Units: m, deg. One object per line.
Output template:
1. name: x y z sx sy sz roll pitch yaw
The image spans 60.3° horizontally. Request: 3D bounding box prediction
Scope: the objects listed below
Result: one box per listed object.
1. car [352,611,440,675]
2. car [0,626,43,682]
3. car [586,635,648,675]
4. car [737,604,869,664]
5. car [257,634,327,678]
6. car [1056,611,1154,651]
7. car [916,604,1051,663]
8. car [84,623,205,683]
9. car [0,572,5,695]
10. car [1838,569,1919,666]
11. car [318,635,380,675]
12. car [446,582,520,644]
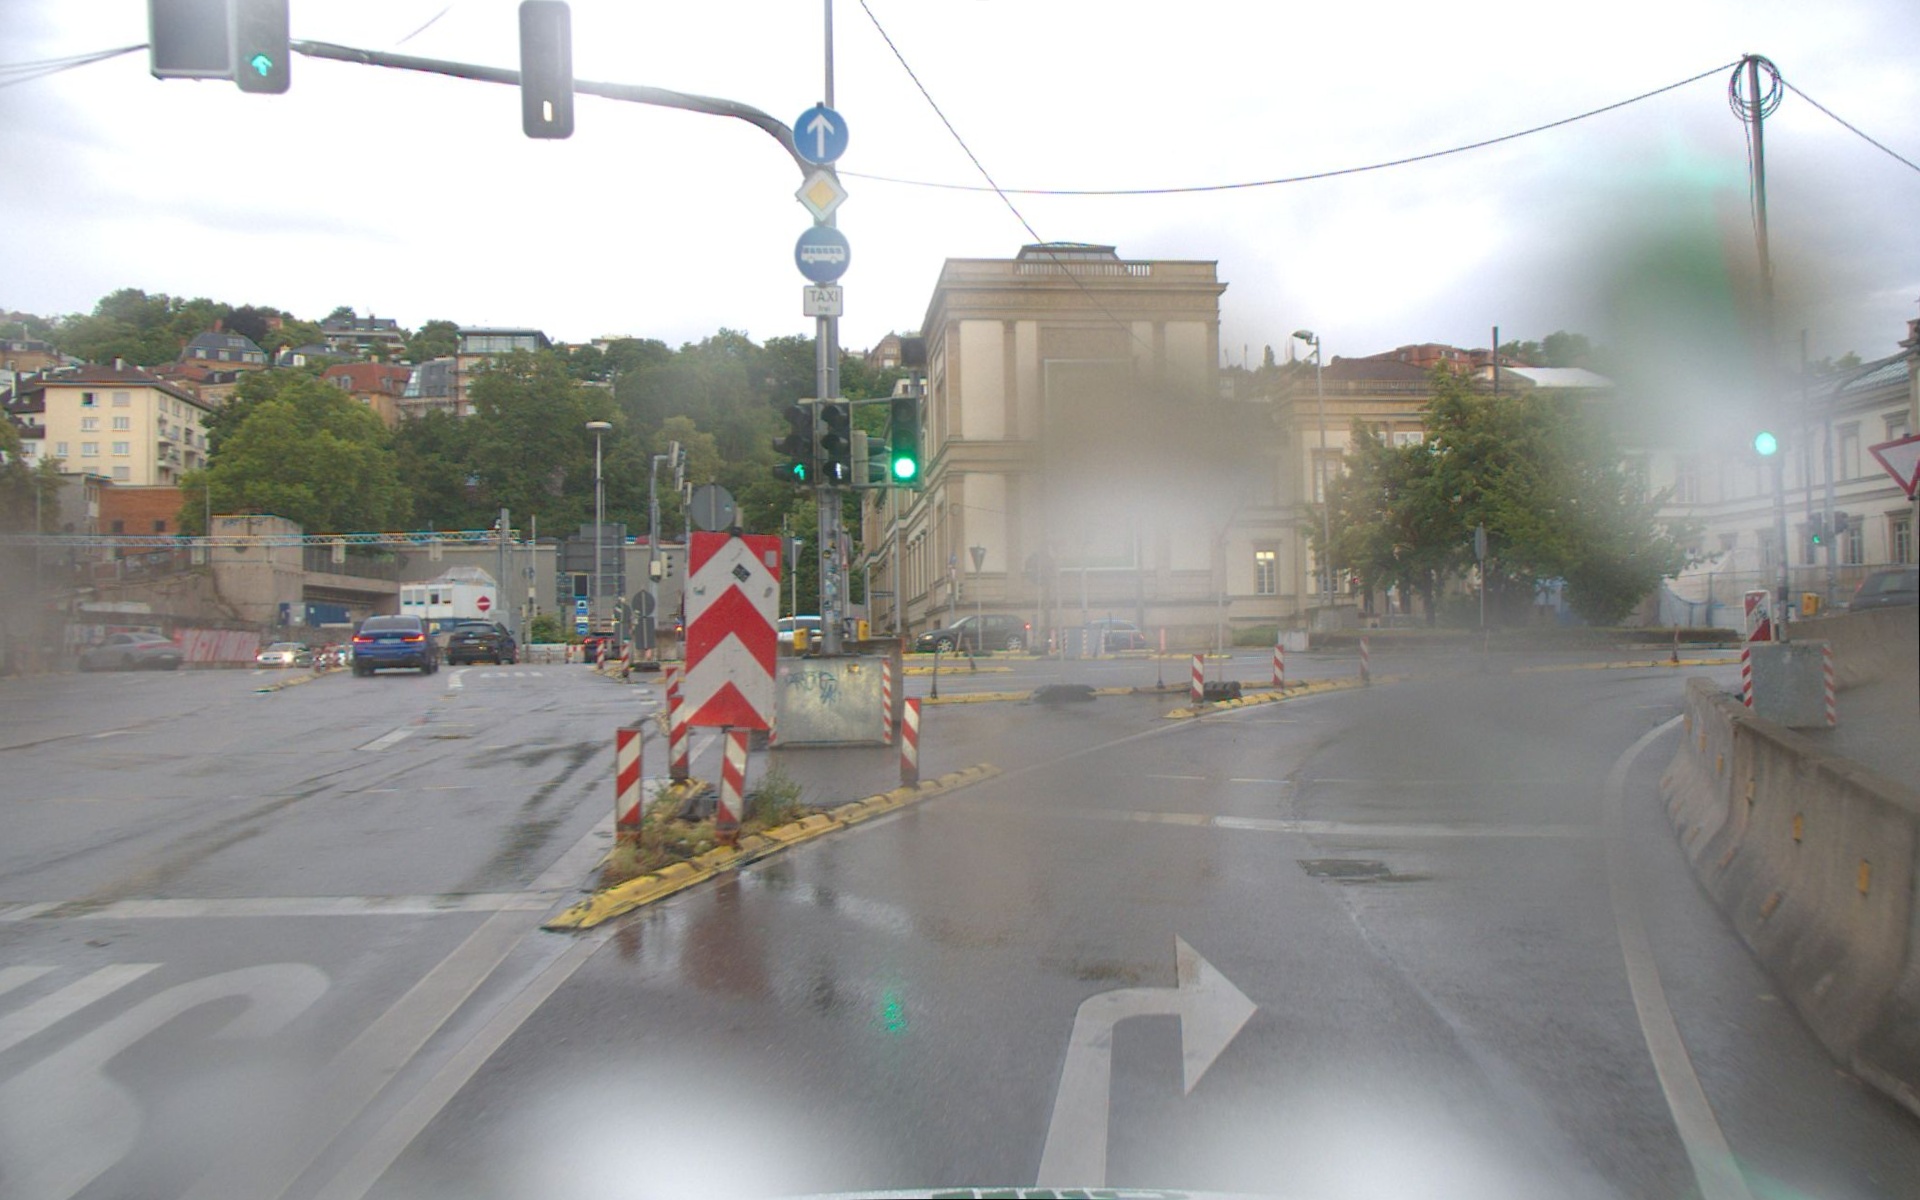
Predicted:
1. car: -13.871 1.023 40.729 1.963 1.464 3.978 0 -1 -19
2. car: -32.941 1.793 56.140 3.922 1.780 1.774 0 0 37
3. car: -15.752 2.519 76.090 1.952 1.663 4.000 1 0 1
4. car: -5.561 1.158 58.266 4.541 2.049 1.996 0 0 -9
5. car: -33.674 2.799 83.504 1.953 2.049 3.999 0 0 -1
6. car: 6.372 1.357 72.901 4.098 1.730 1.821 0 0 -5
7. car: 0.828 1.175 59.412 4.588 2.049 1.996 0 0 -9
8. car: -29.989 1.911 60.819 4.200 2.049 1.996 0 0 30
9. car: -15.189 0.496 22.857 1.957 1.871 4.671 0 -1 -10
10. car: 15.681 0.259 26.064 3.709 1.452 1.657 0 0 -32
11. car: -33.714 3.033 91.366 1.953 2.049 3.999 0 0 -1
12. car: -16.324 0.426 56.815 1.957 2.049 3.991 -1 0 -9
